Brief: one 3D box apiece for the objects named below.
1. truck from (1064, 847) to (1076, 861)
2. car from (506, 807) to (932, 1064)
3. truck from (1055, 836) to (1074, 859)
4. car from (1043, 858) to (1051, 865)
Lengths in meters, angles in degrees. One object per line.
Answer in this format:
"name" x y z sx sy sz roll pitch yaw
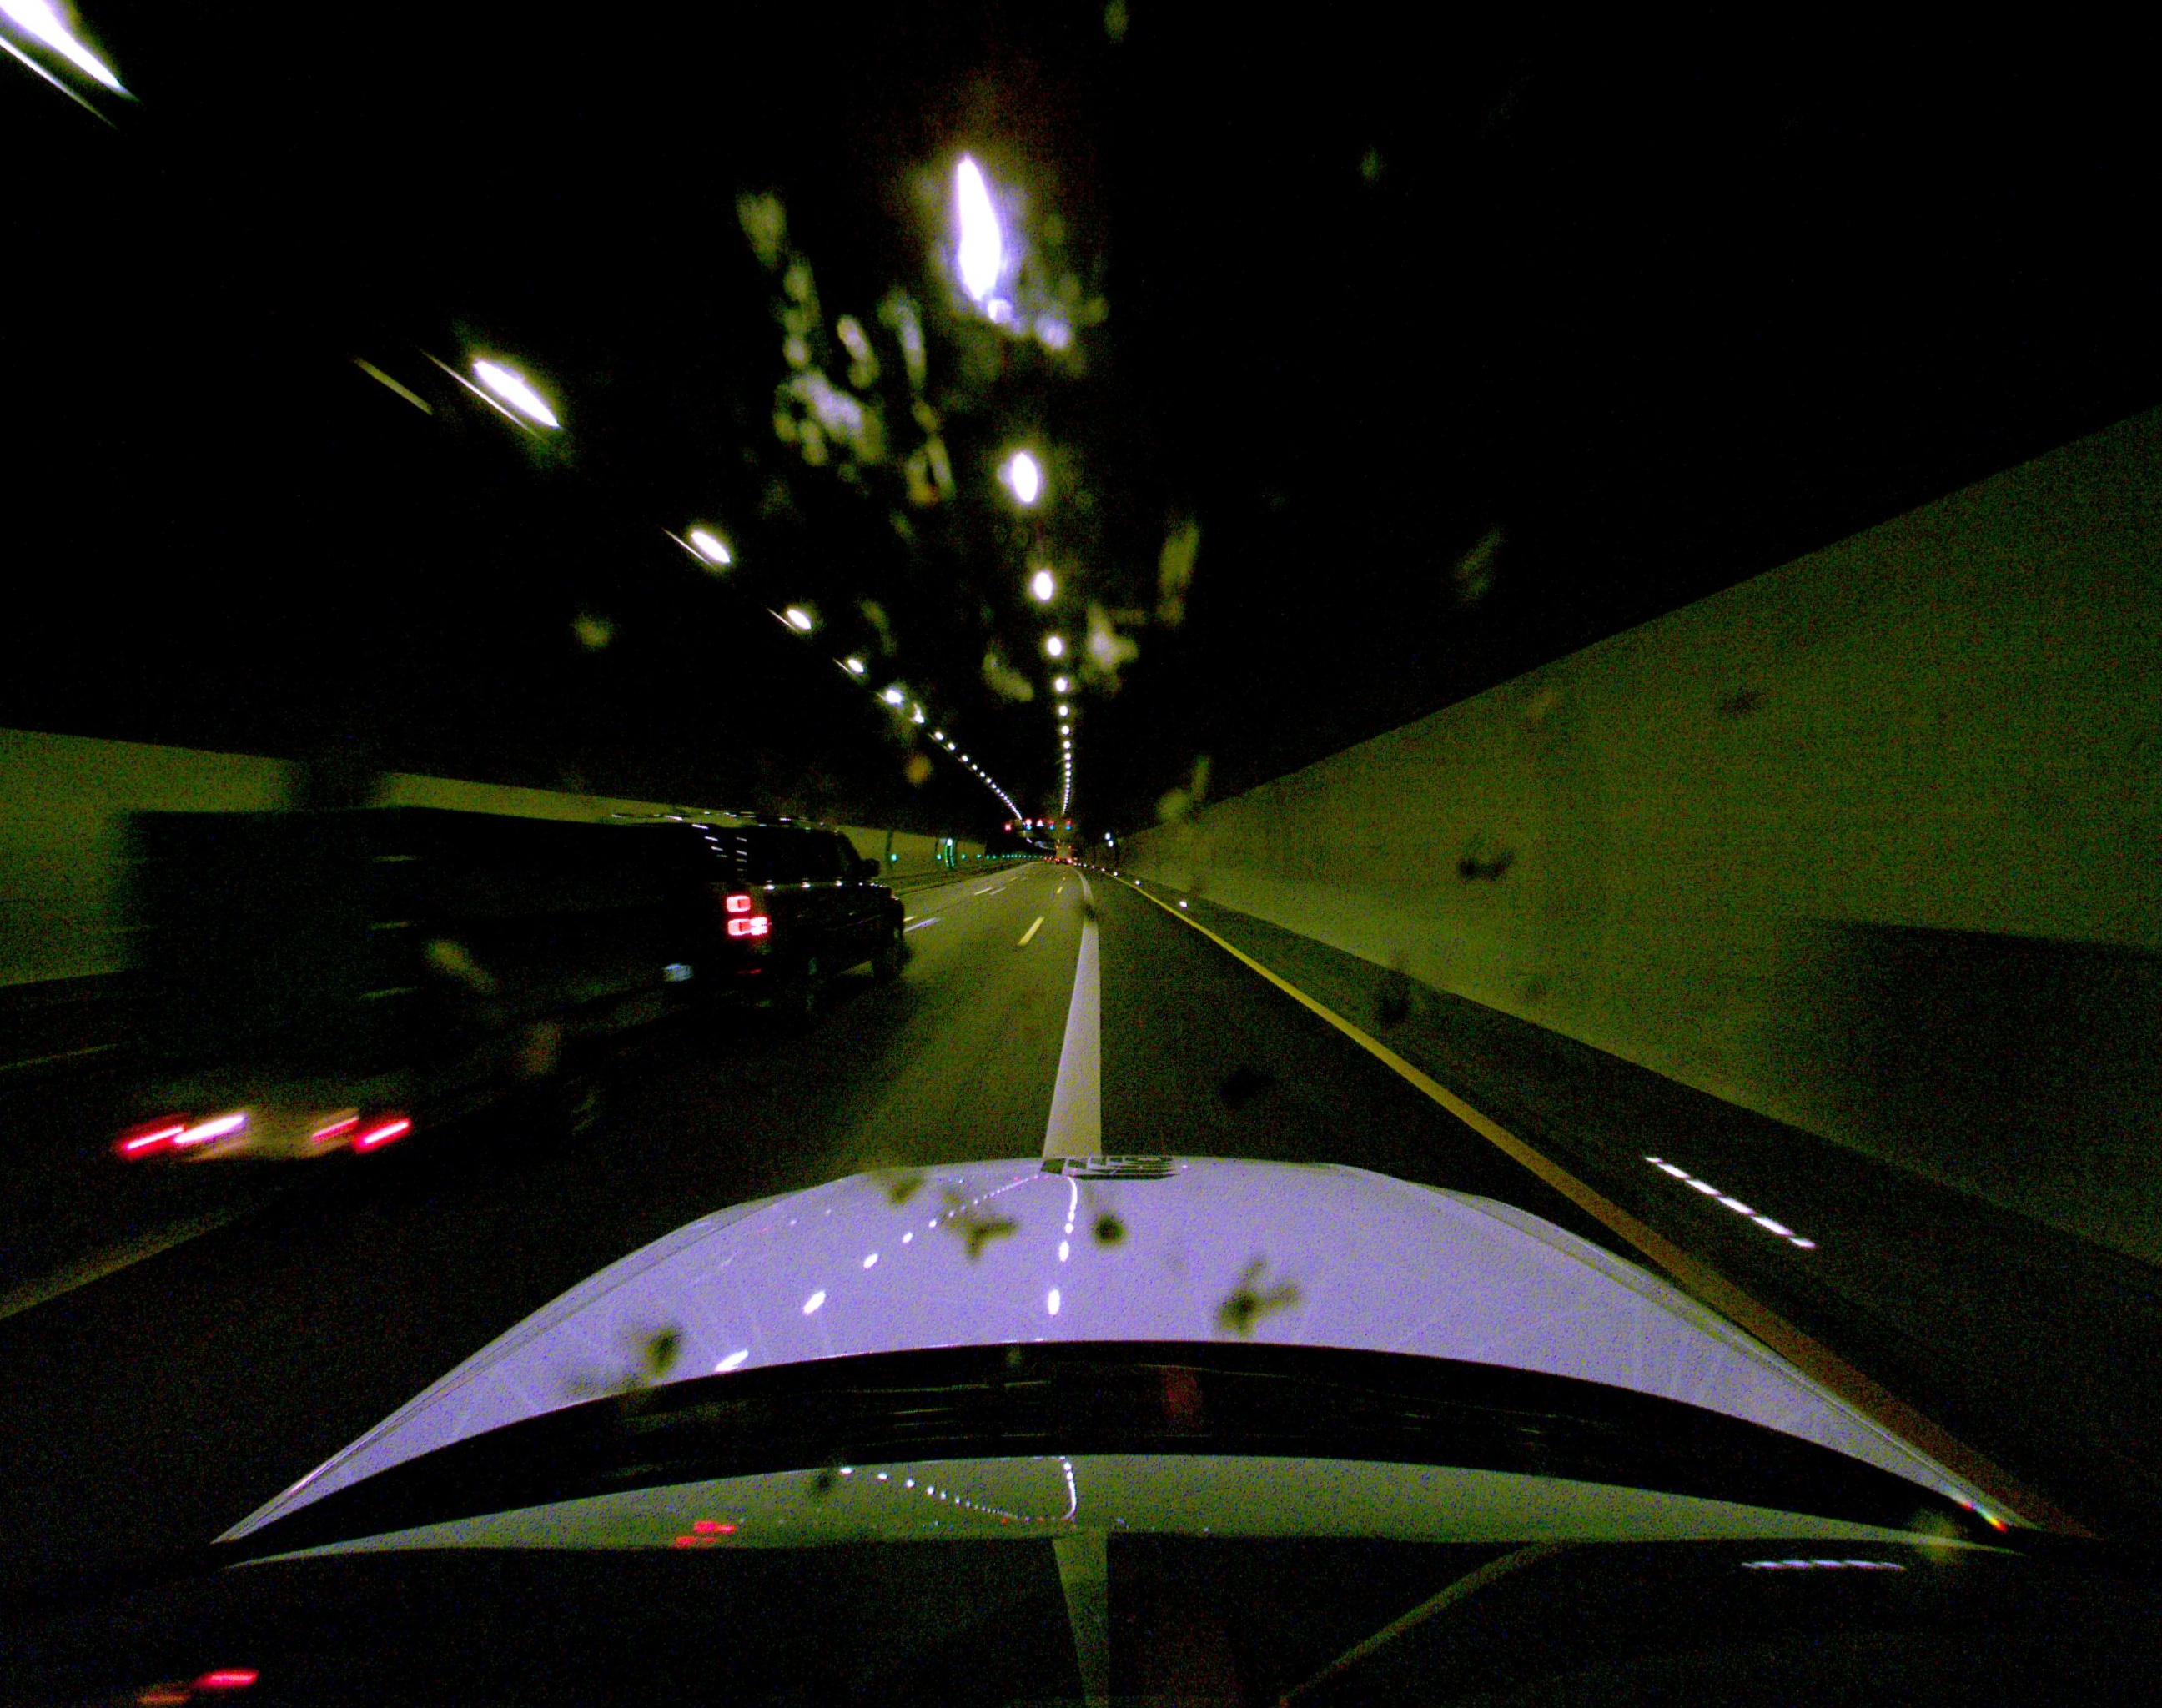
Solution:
"truck" -3.486 0.070 260.224 3.465 4.316 10.942 -1 0 -2
"car" -3.202 0.599 8.800 1.986 1.895 5.456 1 0 2
"truck" -3.287 -1.203 161.013 3.465 4.316 10.943 1 0 -2
"car" -8.743 1.937 209.803 1.989 1.582 3.996 0 0 -3
